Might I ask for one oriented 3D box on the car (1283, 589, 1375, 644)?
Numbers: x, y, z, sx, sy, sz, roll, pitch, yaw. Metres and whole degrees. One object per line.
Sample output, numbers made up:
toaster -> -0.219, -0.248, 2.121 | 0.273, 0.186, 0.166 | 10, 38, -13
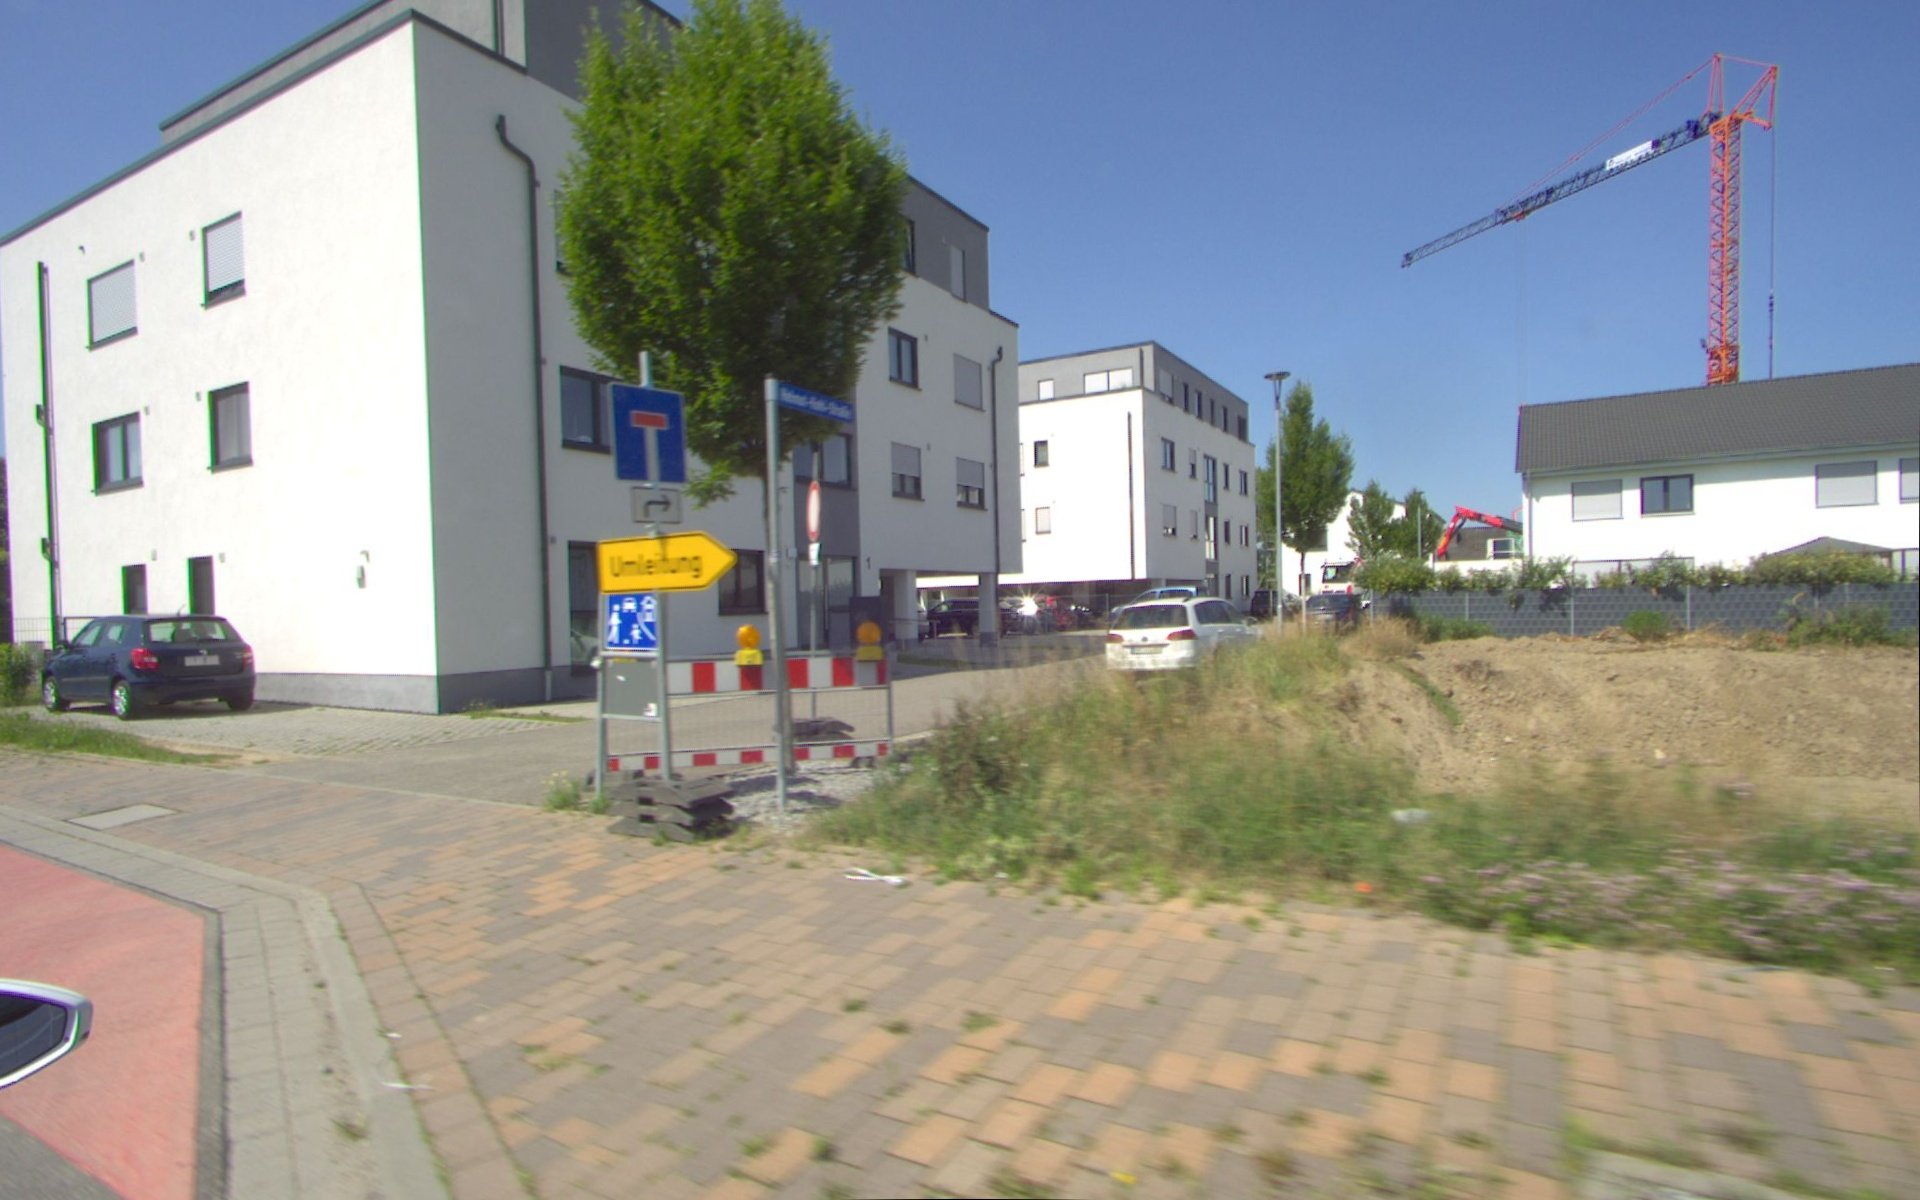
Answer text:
car -> 11.103, 0.450, 29.963 | 1.855, 1.498, 4.151 | -2, 0, 30

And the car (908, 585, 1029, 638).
car -> 0.310, 0.448, 37.441 | 4.112, 1.833, 1.873 | -2, 0, 32

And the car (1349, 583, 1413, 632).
car -> 17.258, 0.274, 40.917 | 1.855, 1.861, 4.151 | -2, 0, 30

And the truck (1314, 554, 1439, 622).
truck -> 22.788, -0.689, 54.722 | 6.862, 3.435, 2.291 | -2, -1, -27

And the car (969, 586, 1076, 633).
car -> 2.656, 0.394, 42.485 | 4.112, 1.833, 1.873 | -2, 0, 32

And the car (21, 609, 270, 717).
car -> -12.739, 0.894, 15.626 | 4.054, 1.489, 1.675 | 0, 0, 30

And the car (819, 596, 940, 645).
car -> -2.727, 0.684, 33.659 | 3.626, 1.522, 1.873 | -2, 0, 32

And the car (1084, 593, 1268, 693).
car -> 3.809, 0.655, 17.103 | 1.855, 1.454, 4.151 | -2, 0, 30

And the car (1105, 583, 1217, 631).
car -> 8.279, 0.303, 41.444 | 4.116, 1.833, 1.871 | -2, 0, 35

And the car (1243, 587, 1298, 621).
car -> 16.745, 0.194, 53.890 | 1.812, 1.687, 3.895 | -2, 0, 33

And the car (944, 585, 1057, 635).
car -> 1.614, 0.414, 40.052 | 4.112, 1.833, 1.873 | -2, 0, 32
